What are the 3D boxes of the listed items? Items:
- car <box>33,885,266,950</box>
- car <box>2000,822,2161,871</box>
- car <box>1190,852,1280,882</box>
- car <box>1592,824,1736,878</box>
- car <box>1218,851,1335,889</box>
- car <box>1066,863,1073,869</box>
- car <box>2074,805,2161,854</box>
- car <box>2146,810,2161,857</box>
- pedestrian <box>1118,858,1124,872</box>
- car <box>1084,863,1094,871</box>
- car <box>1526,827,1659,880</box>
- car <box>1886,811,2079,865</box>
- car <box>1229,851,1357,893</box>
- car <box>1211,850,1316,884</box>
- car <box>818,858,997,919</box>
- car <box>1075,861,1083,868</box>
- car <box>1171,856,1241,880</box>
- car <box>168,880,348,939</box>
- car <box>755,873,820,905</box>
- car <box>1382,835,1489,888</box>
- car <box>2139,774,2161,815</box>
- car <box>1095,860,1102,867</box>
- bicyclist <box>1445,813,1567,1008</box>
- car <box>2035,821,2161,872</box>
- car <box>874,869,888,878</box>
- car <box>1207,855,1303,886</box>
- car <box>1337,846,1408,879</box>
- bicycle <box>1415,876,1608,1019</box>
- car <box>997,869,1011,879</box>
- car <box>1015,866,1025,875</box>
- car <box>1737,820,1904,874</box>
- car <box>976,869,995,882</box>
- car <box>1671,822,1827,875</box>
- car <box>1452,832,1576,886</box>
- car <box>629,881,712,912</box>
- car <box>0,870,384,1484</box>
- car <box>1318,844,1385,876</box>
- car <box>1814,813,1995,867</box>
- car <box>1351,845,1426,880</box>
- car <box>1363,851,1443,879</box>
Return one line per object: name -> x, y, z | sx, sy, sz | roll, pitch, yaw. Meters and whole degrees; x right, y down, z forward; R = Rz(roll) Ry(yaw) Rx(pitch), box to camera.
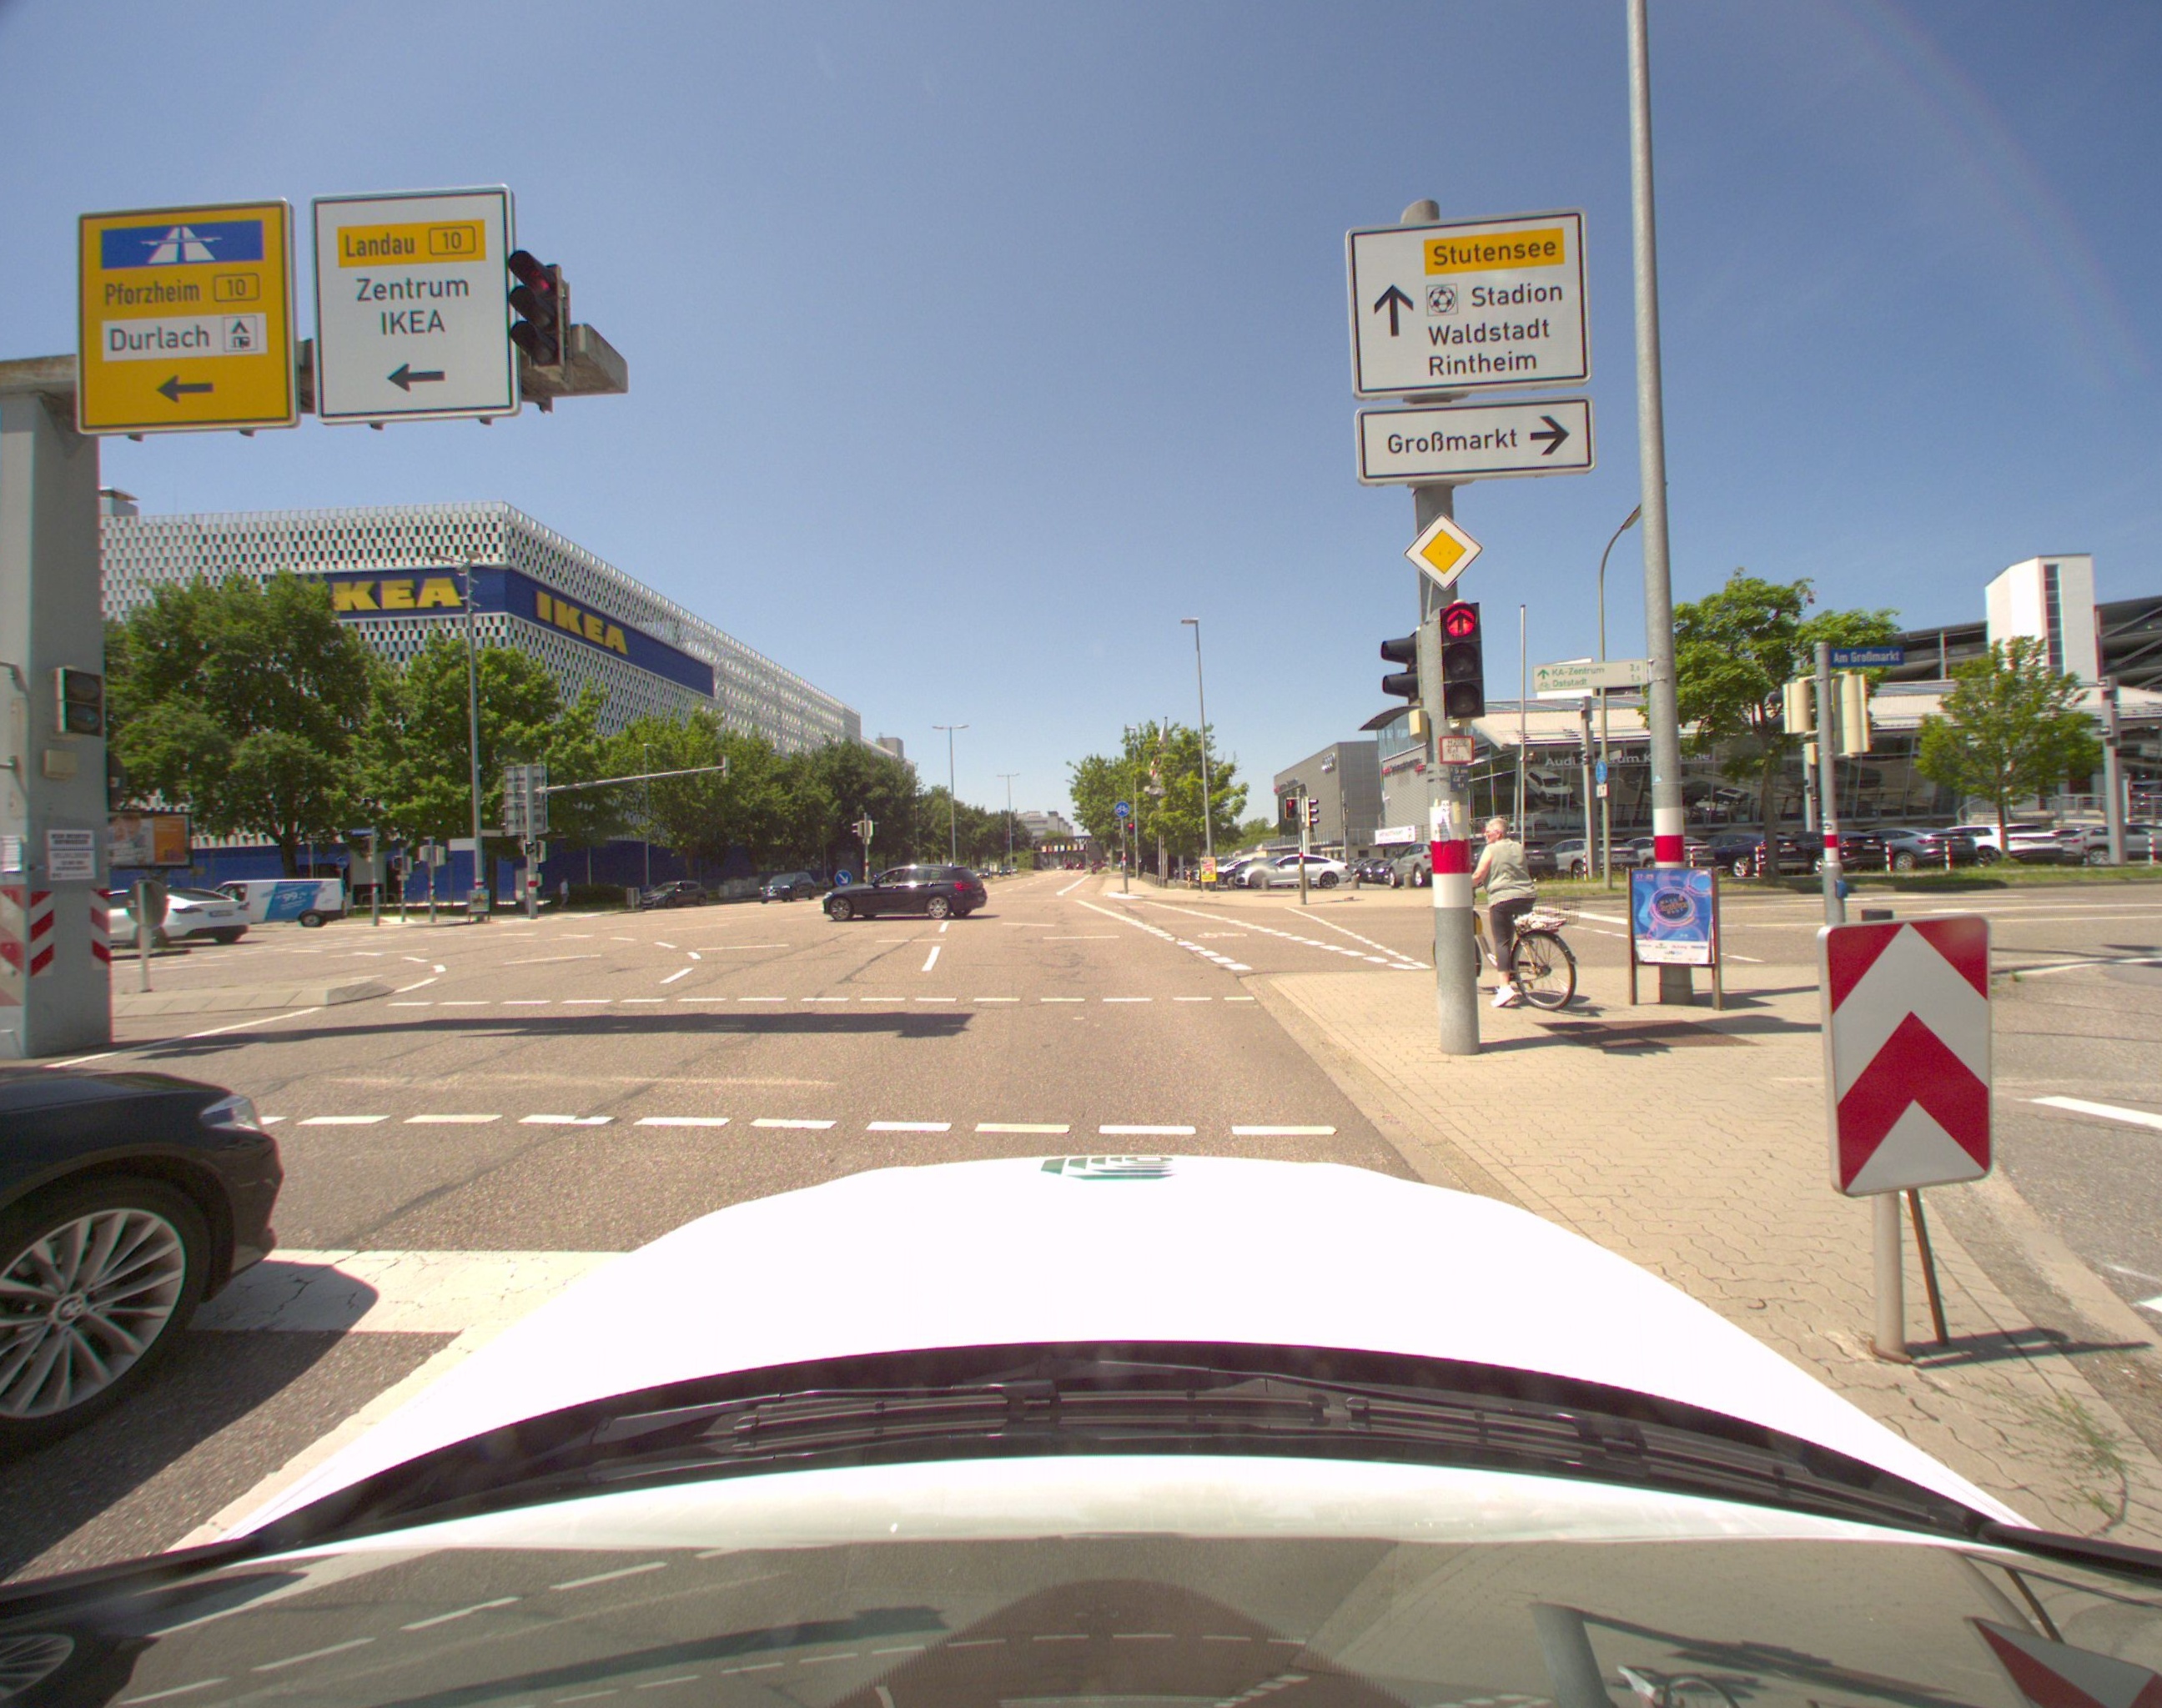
car -> -25.984, 1.759, 22.808 | 4.654, 1.588, 2.004 | -2, -1, 7
car -> 40.365, -0.289, 33.024 | 3.720, 1.772, 1.781 | -3, -1, 32
car -> 8.742, 0.730, 46.501 | 4.726, 1.457, 2.000 | -2, 0, 0
car -> 20.327, -0.106, 28.663 | 1.878, 1.639, 4.526 | -3, 0, 2
car -> 8.520, 0.711, 35.849 | 4.721, 1.457, 2.002 | -2, -2, 3
car -> -3.231, 3.295, 225.833 | 1.765, 1.728, 4.001 | -3, -1, 2
car -> 46.494, -1.072, 35.462 | 3.728, 2.014, 1.866 | -2, -1, 11
car -> 39.378, -0.805, 26.931 | 4.705, 1.639, 1.844 | -3, 0, 24
pedestrian -> 4.638, 1.289, 94.791 | 0.665, 1.510, 0.736 | -2, -1, 1
car -> 1.025, 1.654, 105.571 | 1.133, 1.042, 2.309 | -2, 0, 2
car -> 17.929, -0.018, 28.853 | 1.986, 1.639, 4.443 | -3, 0, 2
car -> 31.196, -0.518, 28.433 | 1.821, 1.639, 4.476 | -3, 0, 2
car -> 8.547, 0.710, 33.178 | 4.721, 1.457, 2.002 | -2, 0, 3
car -> 8.859, 0.602, 39.875 | 4.721, 1.457, 2.002 | -2, 0, 3
car -> -4.508, 0.899, 21.313 | 4.194, 1.411, 1.677 | -2, -1, 12
car -> -0.542, 2.870, 220.315 | 1.765, 1.728, 4.001 | -3, -1, 2
car -> 8.990, 0.980, 58.768 | 4.726, 1.457, 2.000 | -3, 0, 0
car -> -32.860, 2.156, 32.758 | 4.786, 2.008, 1.978 | -2, -1, -37
car -> -16.600, 1.927, 46.258 | 1.868, 1.598, 4.498 | -3, -1, 2
car -> 12.412, 0.238, 28.835 | 1.986, 1.639, 4.270 | -2, 0, 2
car -> 54.973, -3.047, 39.509 | 1.989, 2.013, 3.995 | -2, -1, -3
car -> 4.765, 2.646, 220.873 | 1.765, 1.728, 4.001 | -3, -1, 2
bicyclist -> 4.011, 0.506, 7.738 | 0.732, 1.749, 0.753 | -1, 0, -3
car -> 39.139, -0.275, 30.699 | 3.665, 1.777, 1.759 | -3, -1, 28
car -> -39.407, 3.826, 160.621 | 1.990, 1.810, 4.023 | 0, 0, -4
car -> 9.271, 0.882, 43.684 | 4.726, 1.457, 2.000 | -2, 0, 0
car -> 19.329, 0.565, 54.075 | 3.971, 2.014, 2.001 | -2, -1, 2
bicycle -> 4.042, 0.814, 7.850 | 0.784, 1.127, 1.919 | -1, 0, -2
car -> -11.549, 2.935, 122.340 | 1.678, 1.411, 3.666 | -3, -1, 2
car -> -12.020, 3.282, 161.138 | 1.645, 1.653, 4.160 | -2, -1, -2
car -> 25.655, -0.236, 28.517 | 1.821, 1.639, 4.476 | -3, 0, 2
car -> -11.582, 2.576, 98.913 | 1.725, 1.427, 3.707 | -4, -1, 2
car -> 23.175, -0.175, 28.513 | 1.821, 1.639, 4.476 | -3, 0, 2
car -> 15.081, 0.154, 28.683 | 1.986, 1.639, 4.559 | -2, 0, 2
car -> -23.044, 2.368, 45.815 | 1.753, 1.533, 3.777 | -3, -2, 29
car -> -3.543, 0.803, 0.723 | 1.793, 1.466, 4.624 | -1, 0, 1
car -> 18.733, 0.415, 56.522 | 3.971, 2.014, 2.001 | -2, -1, 2
car -> 28.544, -0.464, 28.471 | 1.821, 1.639, 4.476 | -3, 0, 2
car -> 19.305, 0.511, 51.258 | 3.971, 2.014, 2.001 | -2, -1, 2
car -> 19.285, 0.649, 48.914 | 4.076, 1.460, 1.720 | -2, 0, 2
